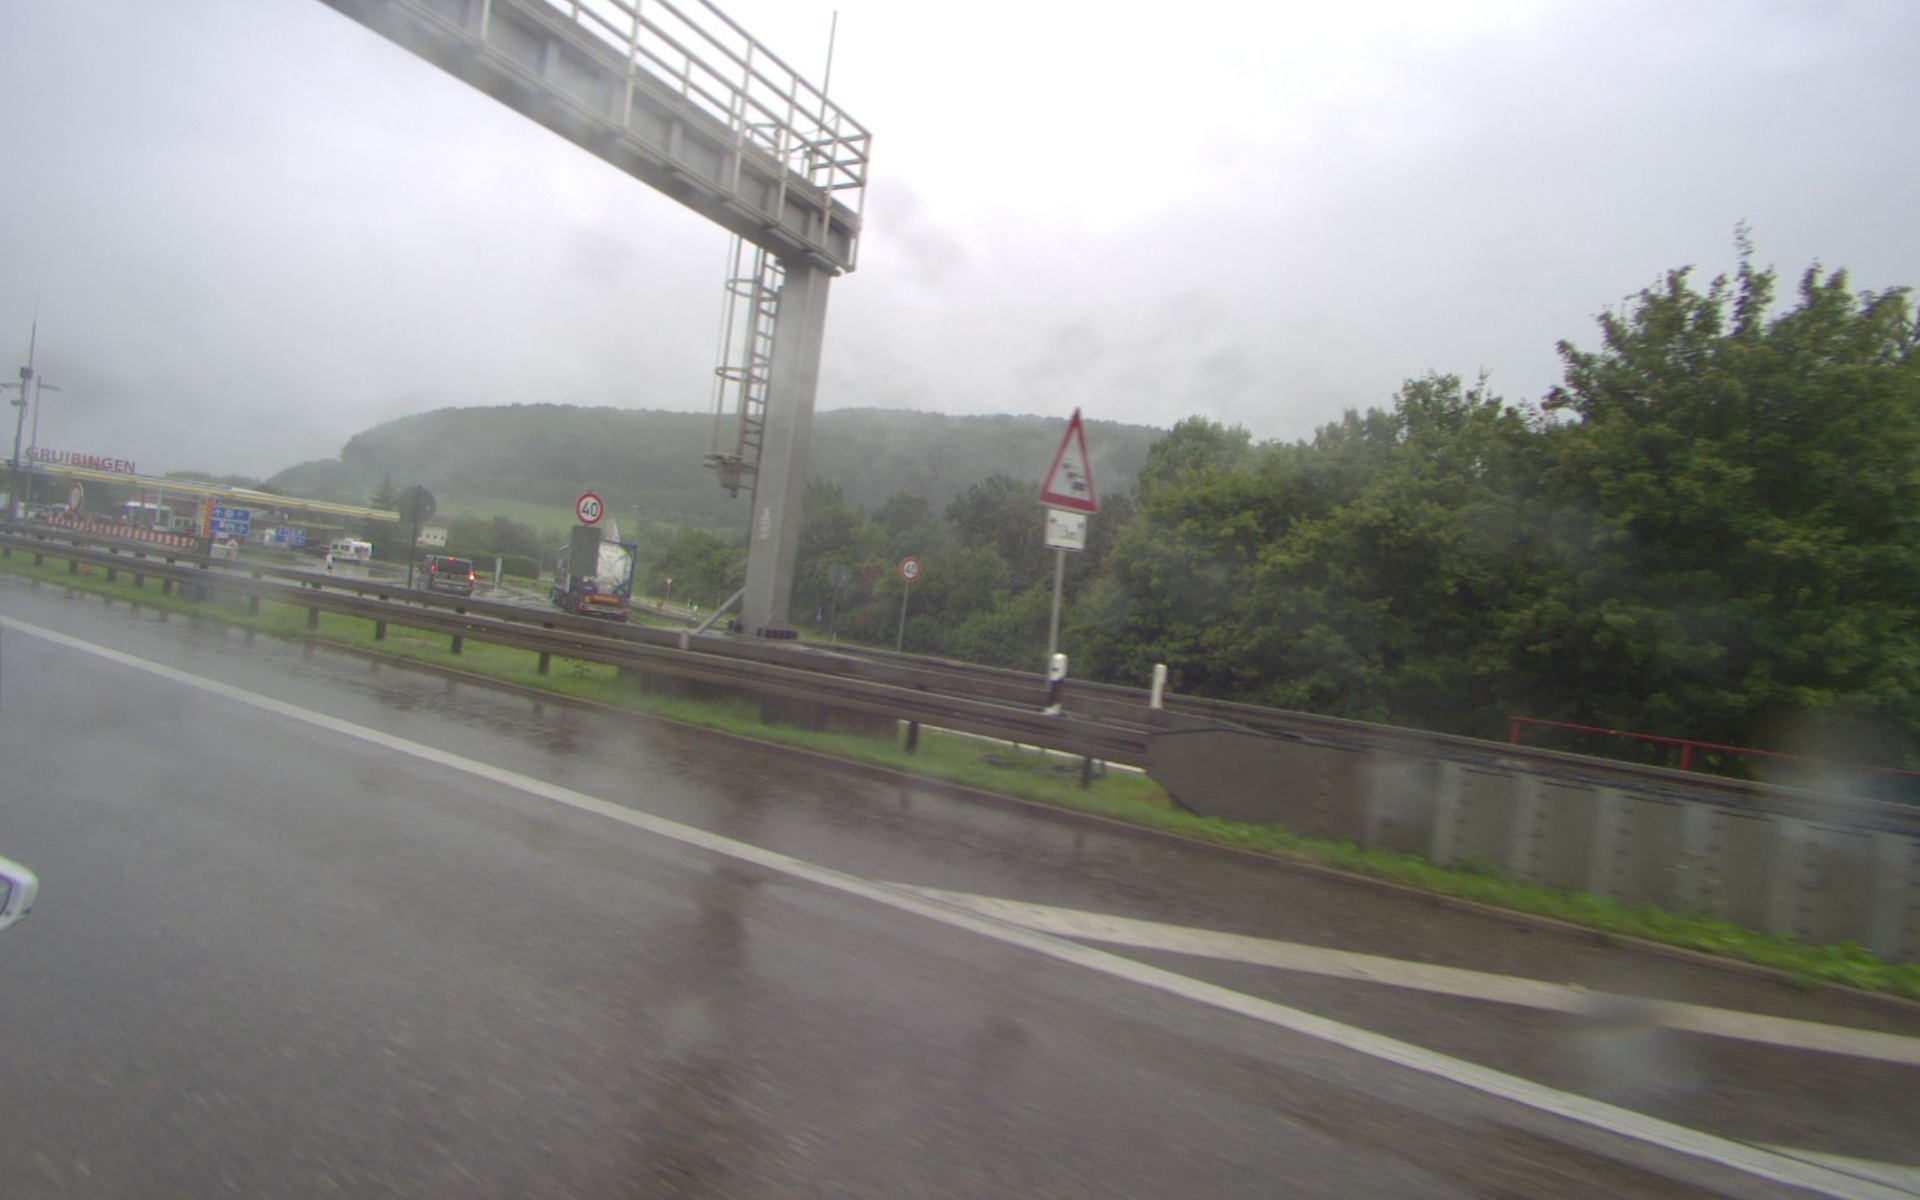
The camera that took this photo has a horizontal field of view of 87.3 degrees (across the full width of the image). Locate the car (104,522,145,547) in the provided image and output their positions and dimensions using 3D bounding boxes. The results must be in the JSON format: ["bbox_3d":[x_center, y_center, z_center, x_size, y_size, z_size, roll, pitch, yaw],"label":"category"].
[{"bbox_3d":[-85.991,-6.725,103.566,3.934,2.037,1.964,6,-2,32],"label":"car"}]

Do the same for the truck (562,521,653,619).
[{"bbox_3d":[-18.938,-1.501,53.504,2.845,4.305,11.803,8,-2,-25],"label":"truck"}]

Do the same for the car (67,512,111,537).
[{"bbox_3d":[-92.436,-8.011,106.756,4.820,2.037,1.998,6,-2,31],"label":"car"}]

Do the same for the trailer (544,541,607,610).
[{"bbox_3d":[-26.263,-1.637,68.324,2.759,3.945,11.685,8,-2,-25],"label":"trailer"}]

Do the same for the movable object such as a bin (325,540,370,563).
[{"bbox_3d":[-72.016,-5.693,118.319,5.293,2.037,2.171,6,-2,31],"label":"movable object such as a bin"}]

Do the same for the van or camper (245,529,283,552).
[{"bbox_3d":[-78.542,-6.691,113.517,3.934,2.037,1.998,6,-2,31],"label":"van or camper"}]

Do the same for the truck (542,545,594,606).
[{"bbox_3d":[-29.104,-1.760,74.480,2.723,3.911,7.493,8,-2,-25],"label":"truck"}]

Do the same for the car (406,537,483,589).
[{"bbox_3d":[-24.422,-1.788,47.594,1.986,2.037,4.998,8,-1,-40],"label":"car"}]
